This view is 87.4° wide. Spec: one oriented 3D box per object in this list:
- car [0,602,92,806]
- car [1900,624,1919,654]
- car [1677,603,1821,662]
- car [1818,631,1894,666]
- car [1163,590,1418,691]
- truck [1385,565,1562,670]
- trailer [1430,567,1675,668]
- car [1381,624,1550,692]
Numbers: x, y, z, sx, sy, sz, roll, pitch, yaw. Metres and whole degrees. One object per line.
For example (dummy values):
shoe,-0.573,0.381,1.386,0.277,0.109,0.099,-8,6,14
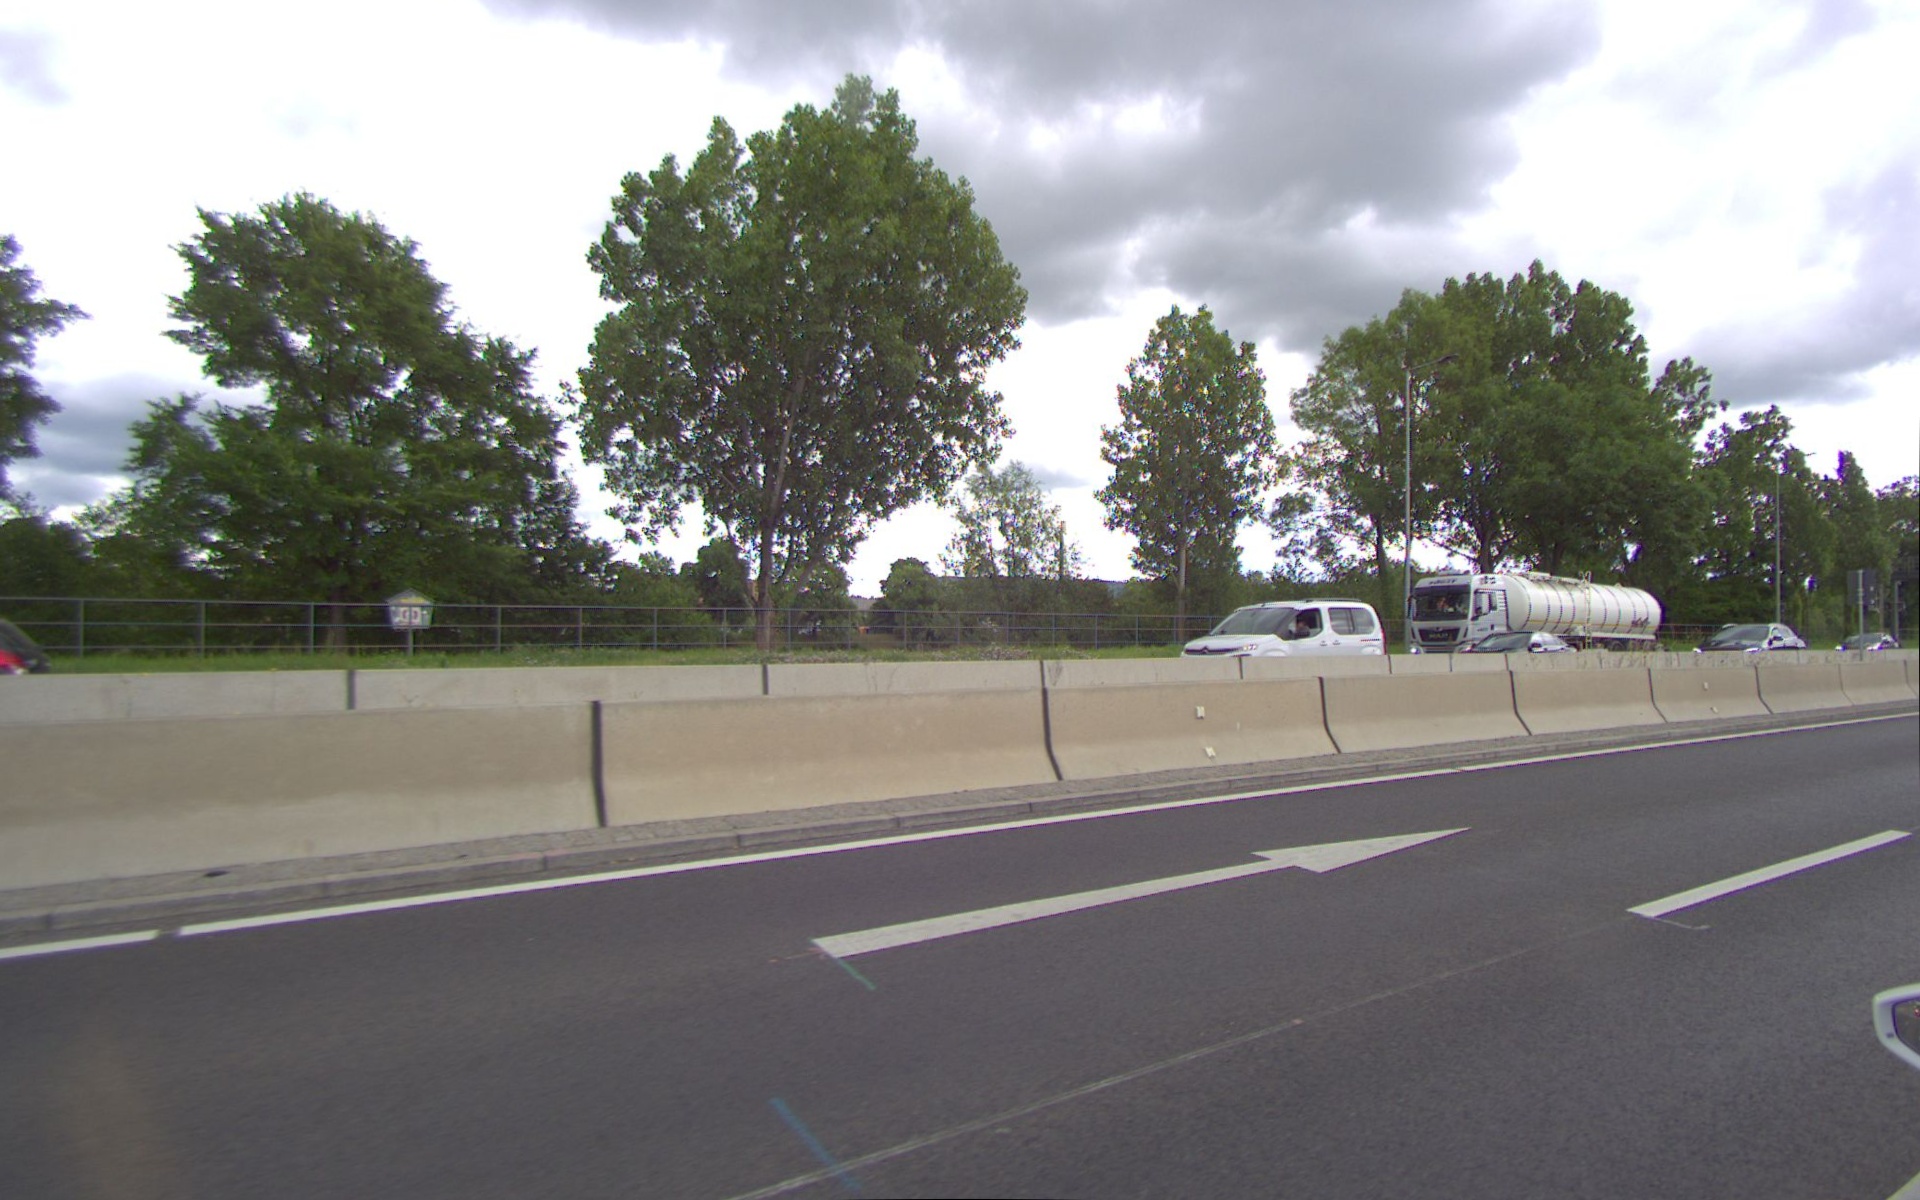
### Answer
car,-11.662,1.052,10.250,3.956,2.041,1.982,1,1,-33
car,60.294,2.429,62.243,3.955,1.762,1.983,1,1,-32
car,24.136,0.948,30.698,4.644,1.639,1.982,1,1,-32
car,48.779,2.605,54.672,4.255,1.762,1.982,1,1,-32
car,6.193,0.693,18.665,4.644,1.639,1.982,1,1,-32
truck,17.328,0.544,33.859,5.334,3.262,3.079,1,1,-34
trailer,22.124,0.610,37.101,11.545,3.263,3.081,1,1,-34
car,13.835,1.509,27.417,4.644,1.639,1.982,1,1,-32
